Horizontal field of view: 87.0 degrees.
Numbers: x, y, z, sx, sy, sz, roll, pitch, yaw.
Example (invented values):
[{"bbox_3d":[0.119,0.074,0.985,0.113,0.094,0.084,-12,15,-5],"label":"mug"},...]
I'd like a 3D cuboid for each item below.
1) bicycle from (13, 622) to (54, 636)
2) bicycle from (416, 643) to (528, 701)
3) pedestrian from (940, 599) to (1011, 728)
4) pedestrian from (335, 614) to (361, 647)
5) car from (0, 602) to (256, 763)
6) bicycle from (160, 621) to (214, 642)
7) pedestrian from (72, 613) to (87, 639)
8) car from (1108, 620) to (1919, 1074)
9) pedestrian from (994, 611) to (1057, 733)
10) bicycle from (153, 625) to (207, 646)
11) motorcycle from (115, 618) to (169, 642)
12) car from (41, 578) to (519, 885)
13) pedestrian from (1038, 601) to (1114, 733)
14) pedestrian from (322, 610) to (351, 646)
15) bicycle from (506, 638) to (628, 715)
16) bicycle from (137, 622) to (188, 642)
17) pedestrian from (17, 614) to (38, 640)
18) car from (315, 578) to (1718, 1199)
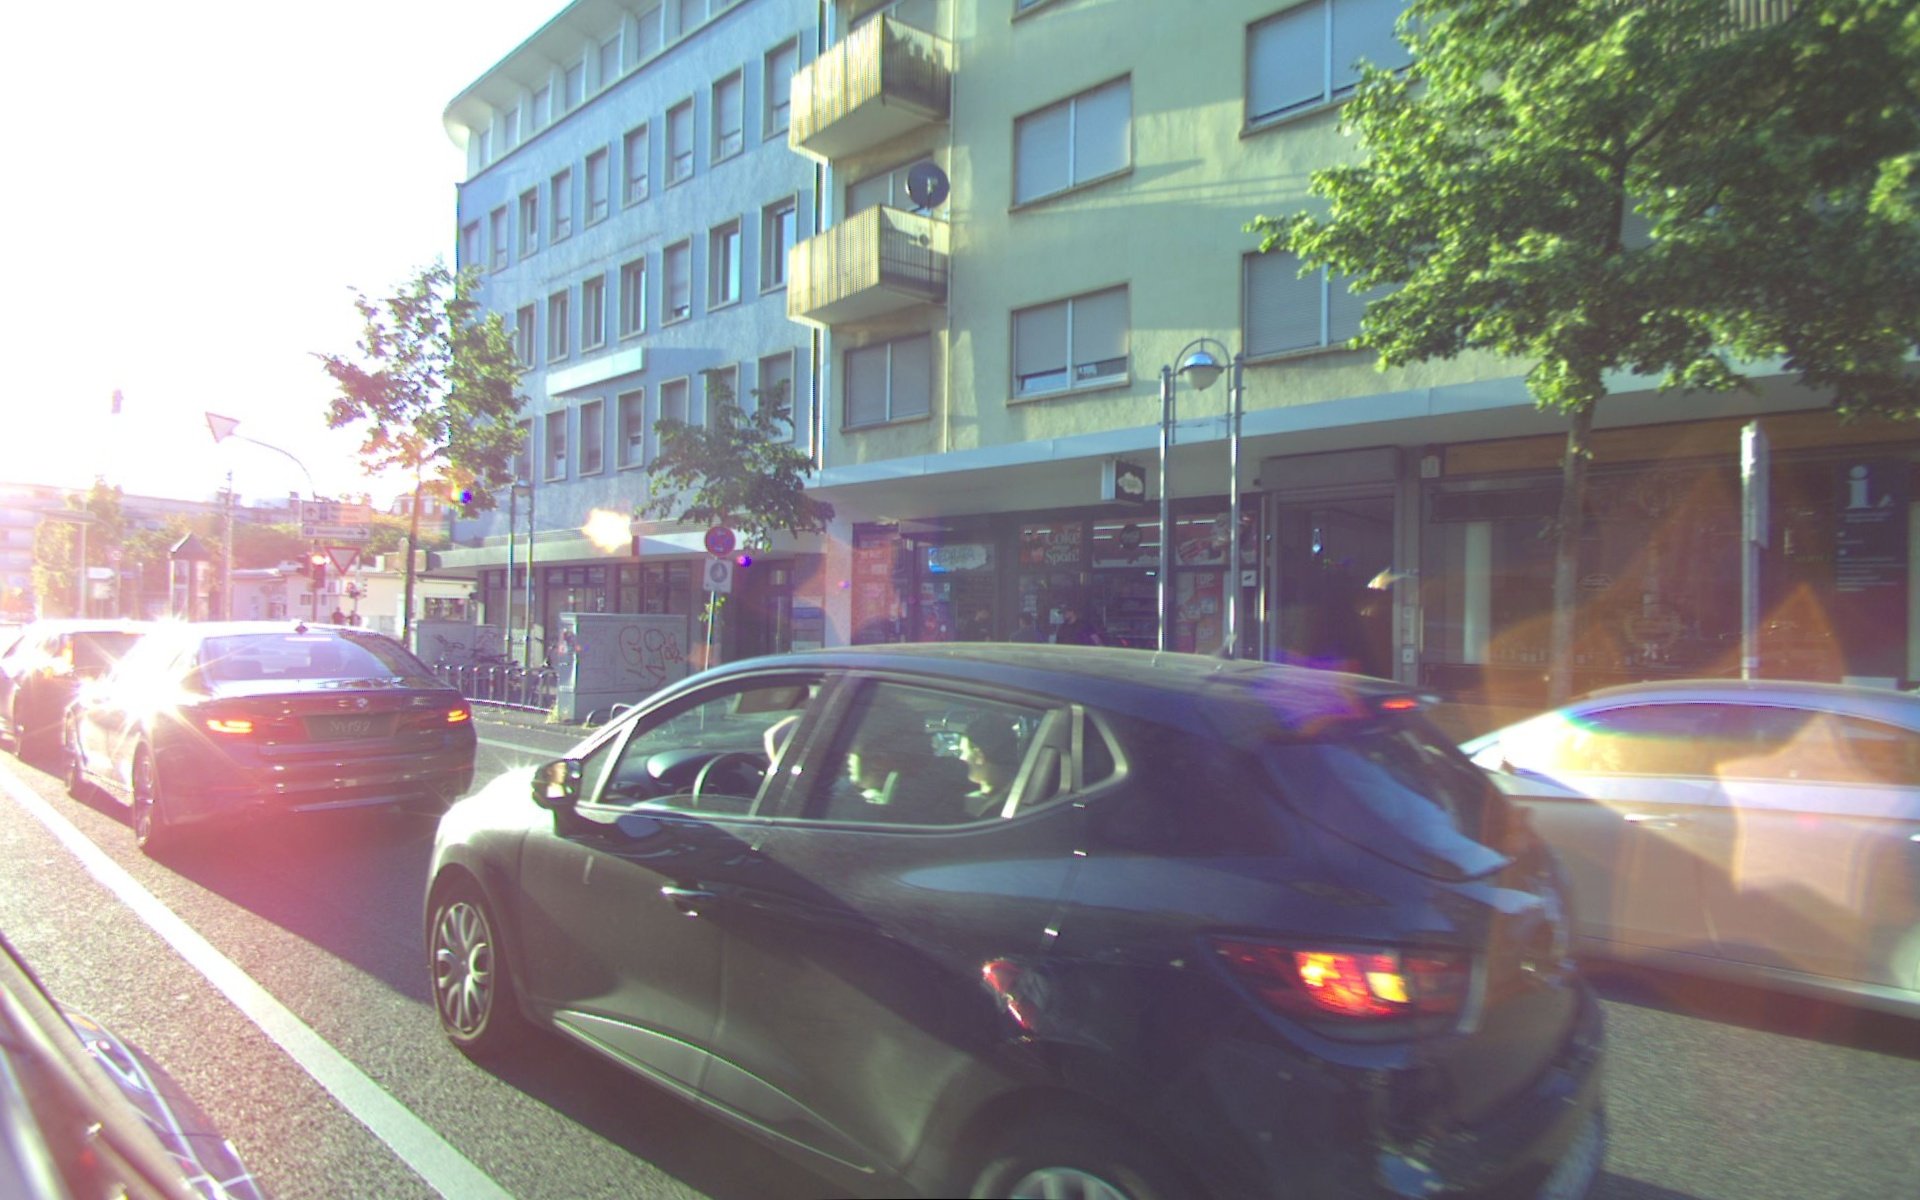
[{"bbox_3d":[-74.497,2.291,81.388,2.365,1.079,0.673,0,0,-42],"label":"bicycle"},{"bbox_3d":[-9.593,1.397,19.983,0.490,0.999,1.990,0,0,37],"label":"bicycle"},{"bbox_3d":[0.230,0.938,15.234,0.758,1.862,0.744,2,-3,-39],"label":"pedestrian"},{"bbox_3d":[-32.106,1.585,53.102,0.896,1.689,0.778,0,0,7],"label":"pedestrian"},{"bbox_3d":[-10.208,0.869,11.968,4.505,1.559,1.938,-1,-3,40],"label":"car"},{"bbox_3d":[-41.627,1.696,54.541,0.778,1.096,2.171,0,-1,35],"label":"bicycle"},{"bbox_3d":[-58.368,1.717,67.095,0.767,1.689,0.908,0,0,-41],"label":"pedestrian"},{"bbox_3d":[3.206,0.958,5.048,4.508,1.523,1.972,0,-4,42],"label":"car"},{"bbox_3d":[0.923,0.999,14.406,0.758,1.689,0.744,0,-1,-6],"label":"pedestrian"},{"bbox_3d":[-42.542,1.943,55.196,0.778,1.096,2.195,0,-1,35],"label":"bicycle"},{"bbox_3d":[-48.739,1.769,60.318,2.416,1.376,0.780,0,-1,-43],"label":"motorcycle"},{"bbox_3d":[-5.389,0.737,7.741,4.614,1.657,1.925,0,-2,42],"label":"car"},{"bbox_3d":[1.676,0.954,14.621,0.813,1.833,0.732,-2,-3,43],"label":"pedestrian"},{"bbox_3d":[-31.520,1.392,51.207,0.874,1.798,0.901,0,0,18],"label":"pedestrian"},{"bbox_3d":[-6.865,1.308,17.767,0.491,1.228,1.988,0,0,41],"label":"bicycle"},{"bbox_3d":[-46.059,1.860,58.457,0.779,1.096,2.152,0,-2,41],"label":"bicycle"},{"bbox_3d":[-61.687,1.792,66.955,0.892,1.689,0.781,0,0,-37],"label":"pedestrian"},{"bbox_3d":[-0.396,0.779,3.295,4.464,1.561,1.705,0,-2,42],"label":"car"}]
